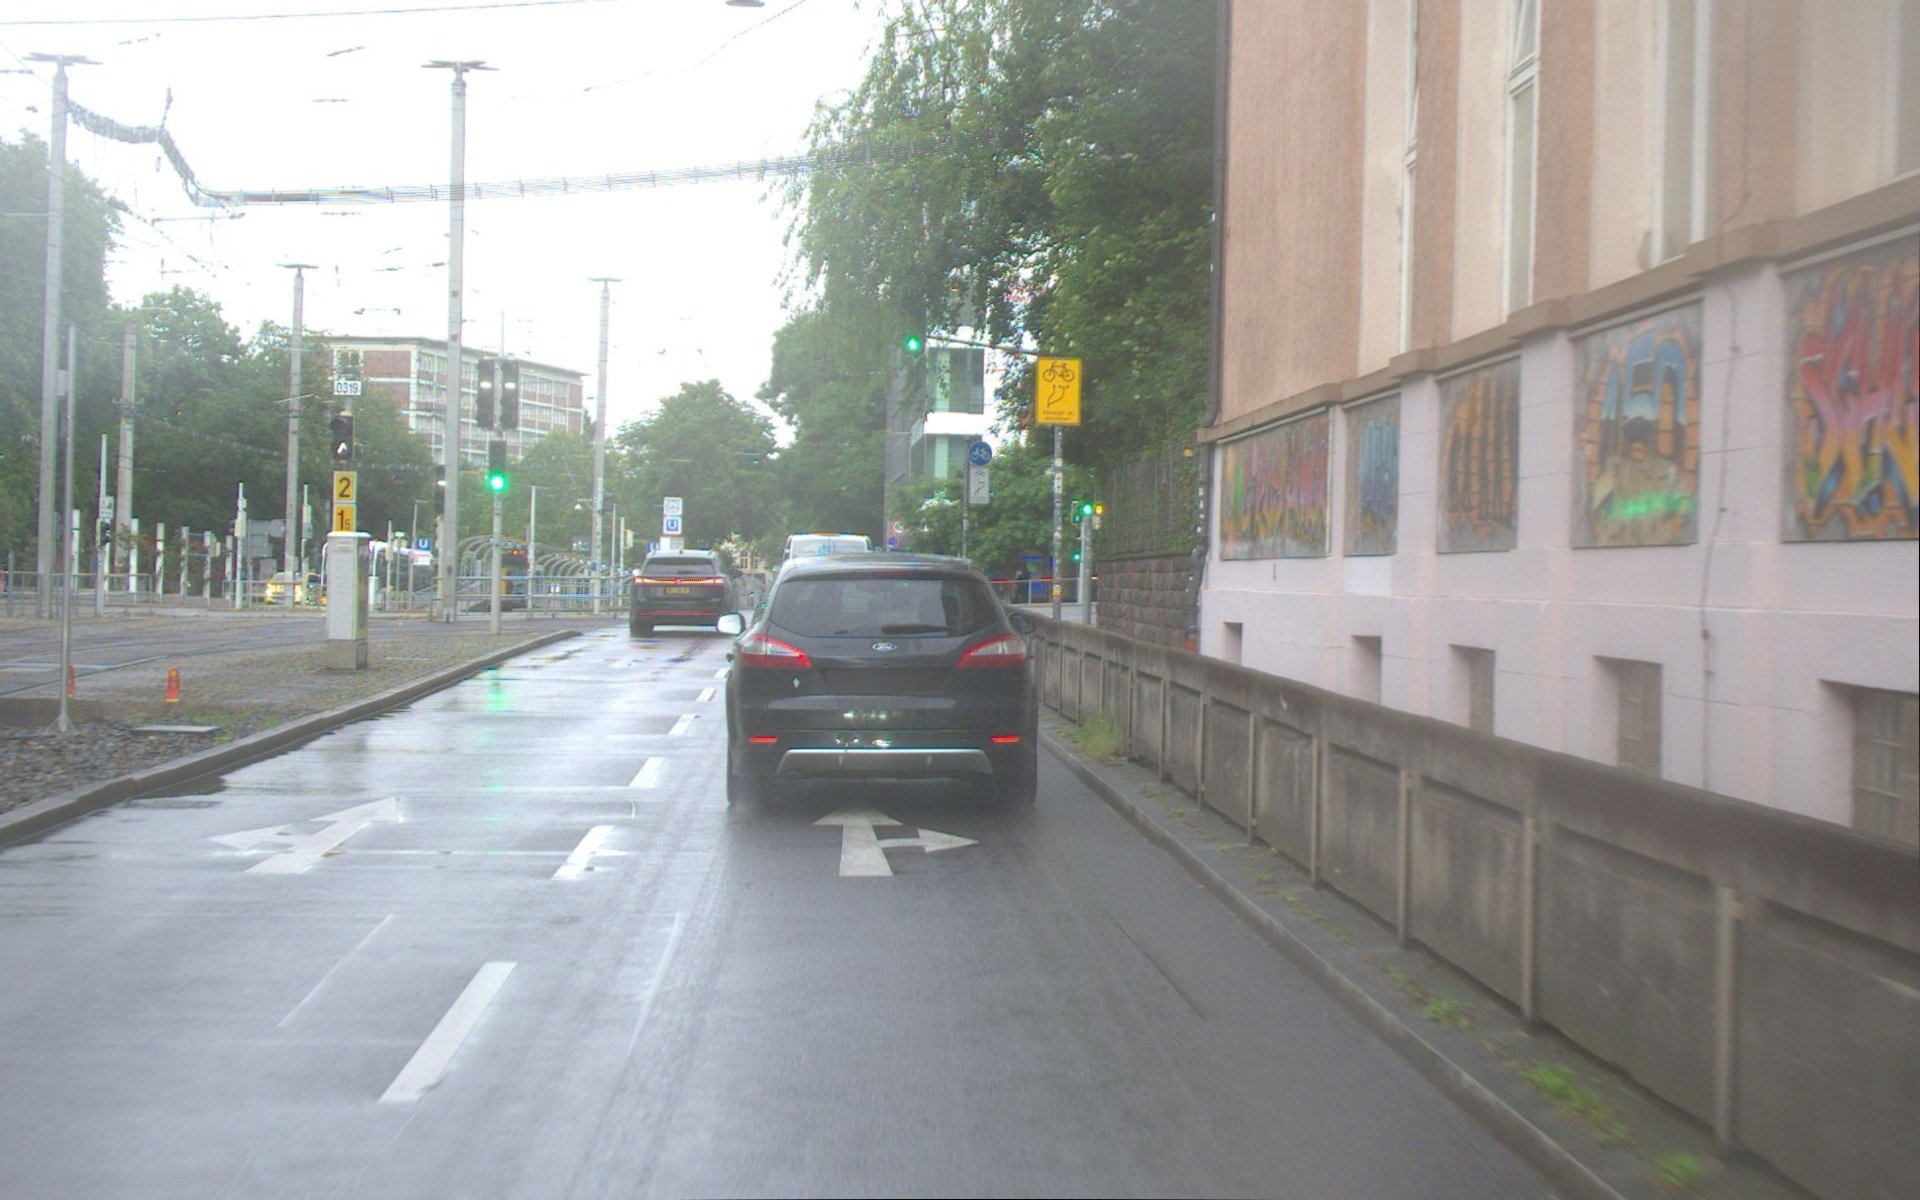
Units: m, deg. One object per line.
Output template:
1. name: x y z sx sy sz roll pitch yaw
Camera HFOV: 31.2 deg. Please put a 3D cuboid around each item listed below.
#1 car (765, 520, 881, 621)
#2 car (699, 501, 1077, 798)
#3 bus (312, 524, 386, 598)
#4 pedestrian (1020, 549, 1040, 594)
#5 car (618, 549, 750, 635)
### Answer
1. car: -2.586 -0.576 66.000 2.036 1.833 4.392 2 1 0
2. car: -0.479 0.243 21.137 2.035 1.579 4.392 2 1 -2
3. bus: -28.319 -1.774 159.651 3.076 3.289 12.526 0 0 -9
4. pedestrian: 2.407 -0.971 118.278 0.542 1.558 0.521 0 0 18
5. car: -5.001 -0.157 62.868 2.098 1.500 4.732 0 0 -1
